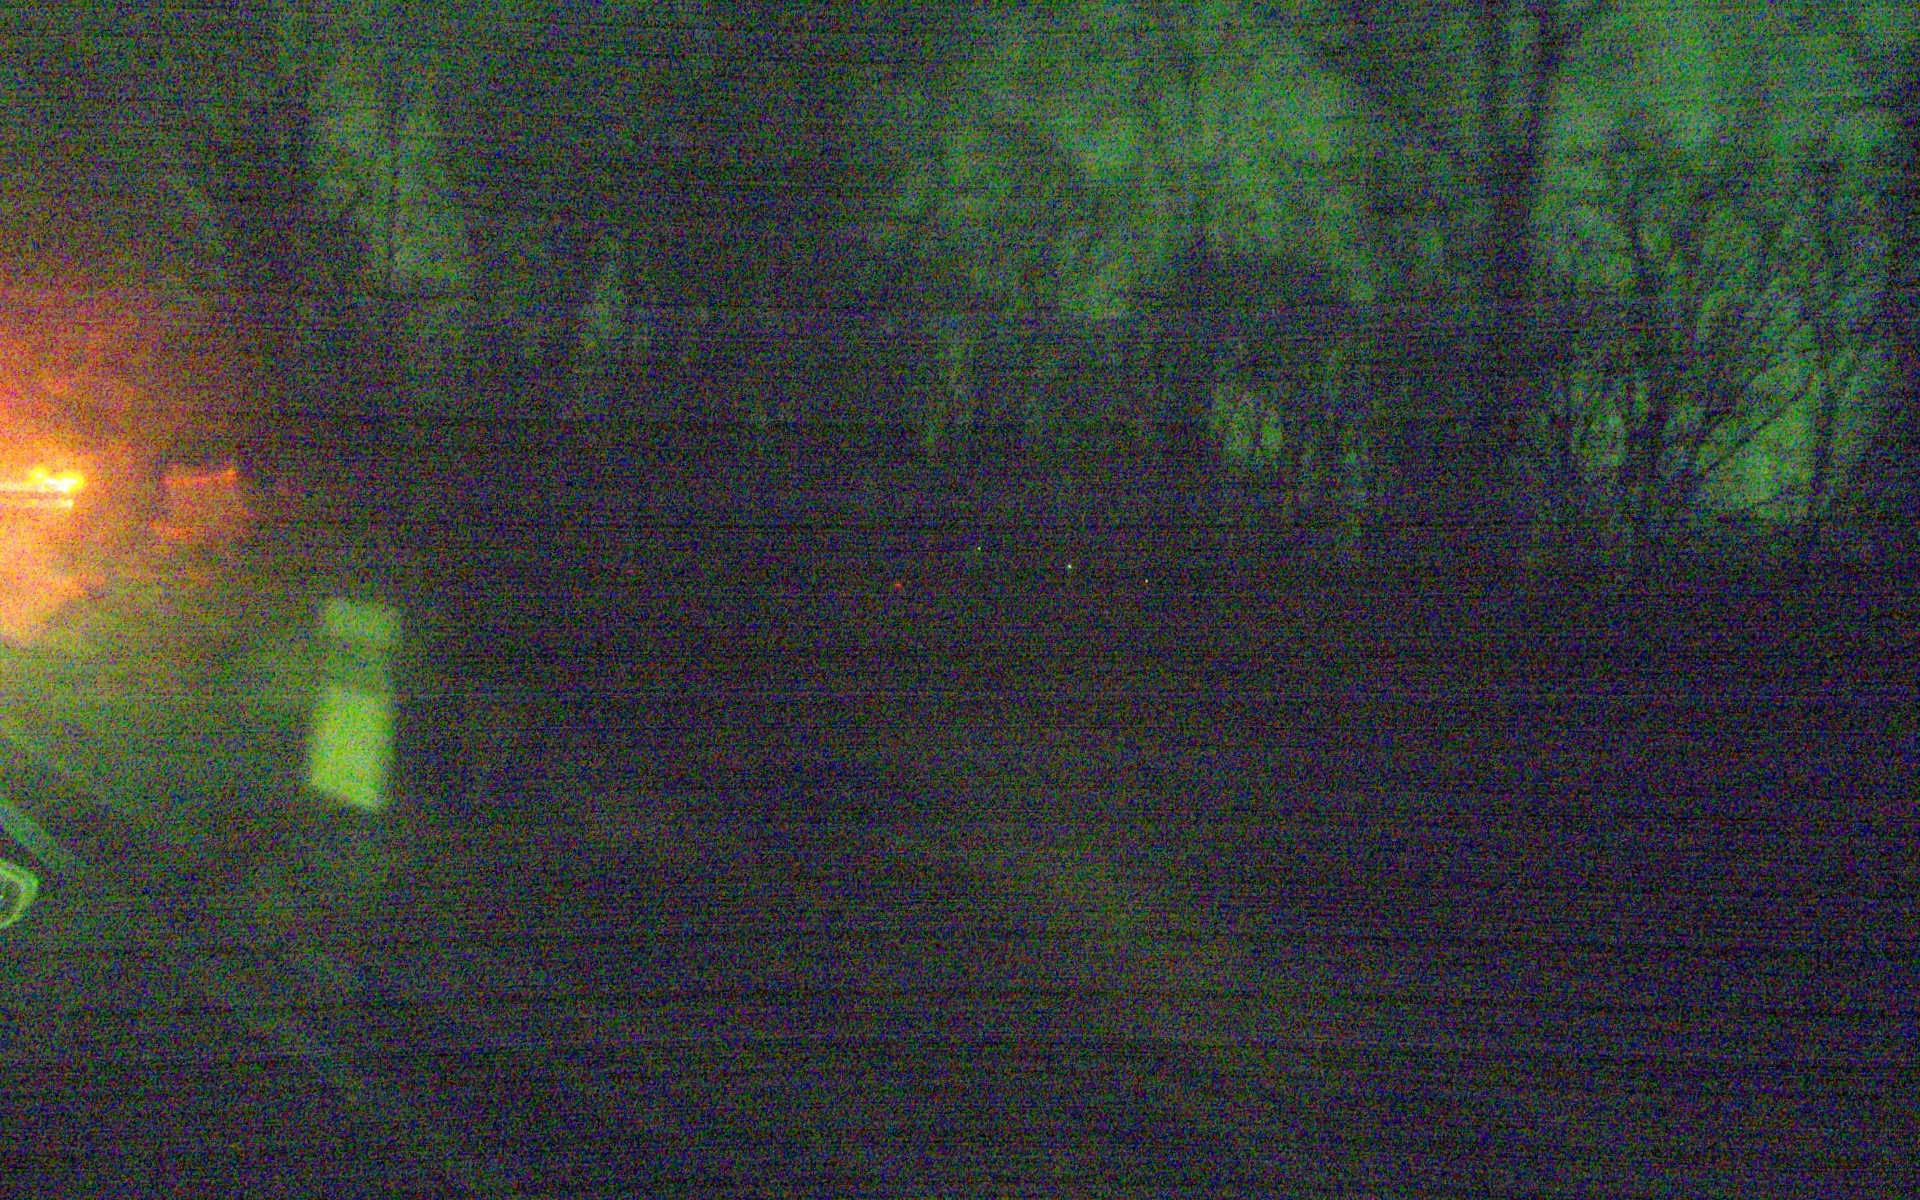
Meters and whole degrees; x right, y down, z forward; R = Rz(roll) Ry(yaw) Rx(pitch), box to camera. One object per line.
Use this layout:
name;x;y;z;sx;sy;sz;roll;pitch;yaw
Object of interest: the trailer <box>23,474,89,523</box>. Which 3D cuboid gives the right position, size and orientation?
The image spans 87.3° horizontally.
trailer;-47.602;-5.258;53.134;2.069;2.038;10.530;6;-1;-40
